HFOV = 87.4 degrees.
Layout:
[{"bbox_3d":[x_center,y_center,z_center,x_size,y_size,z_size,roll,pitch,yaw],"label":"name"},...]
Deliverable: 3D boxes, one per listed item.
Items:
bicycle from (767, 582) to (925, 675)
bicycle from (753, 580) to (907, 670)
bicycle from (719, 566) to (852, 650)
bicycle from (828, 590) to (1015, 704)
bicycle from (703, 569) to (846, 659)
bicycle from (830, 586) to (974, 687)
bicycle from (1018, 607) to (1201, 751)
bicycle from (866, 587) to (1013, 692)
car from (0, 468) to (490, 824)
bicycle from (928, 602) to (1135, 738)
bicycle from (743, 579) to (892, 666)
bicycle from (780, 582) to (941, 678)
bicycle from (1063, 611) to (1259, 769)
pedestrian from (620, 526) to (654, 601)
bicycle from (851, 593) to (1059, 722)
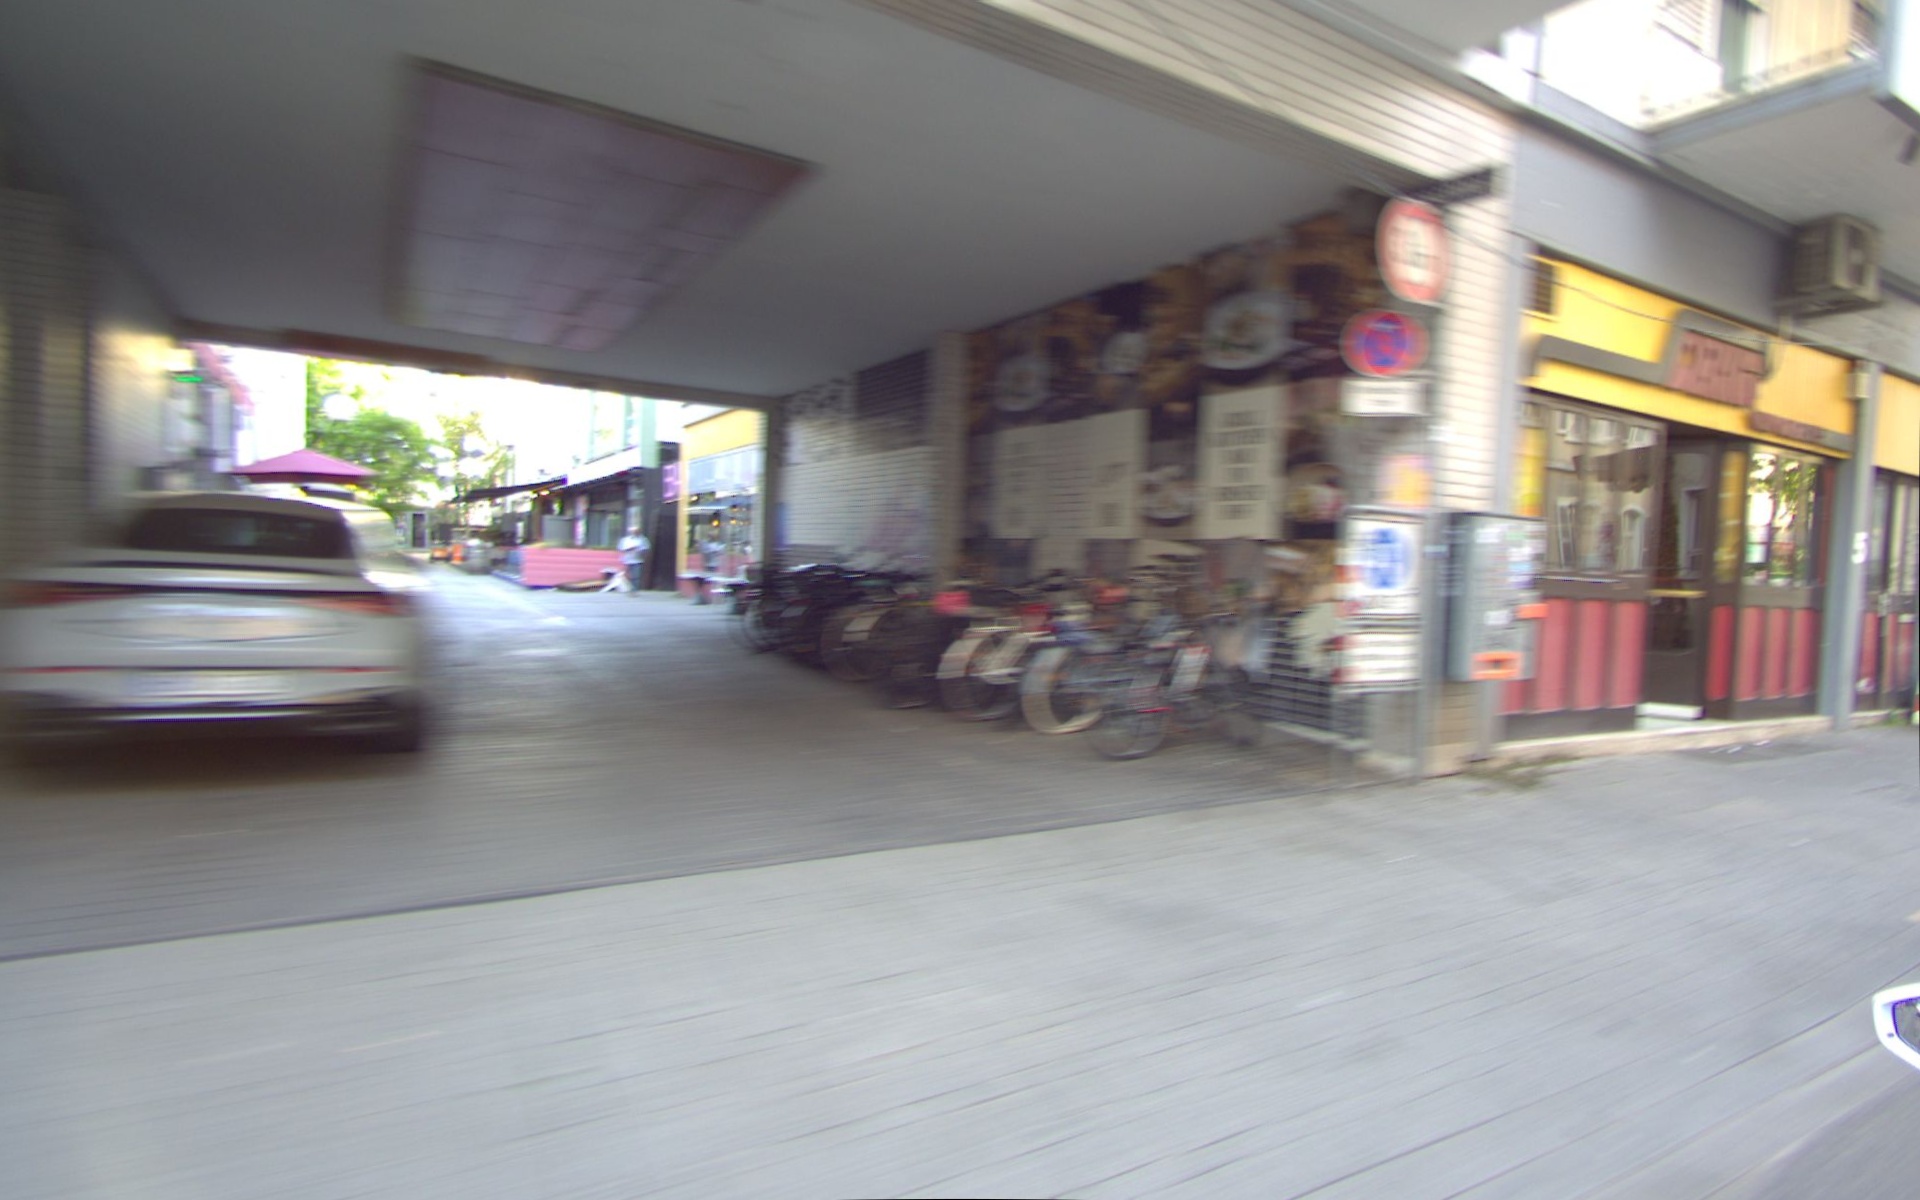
[{"bbox_3d":[-1.259,0.294,11.278,1.777,0.974,0.375,0,3,-34],"label":"bicycle"},{"bbox_3d":[-1.476,0.265,11.607,1.777,0.974,0.375,0,3,-34],"label":"bicycle"},{"bbox_3d":[-2.309,0.090,13.436,1.782,1.052,0.447,-1,4,-41],"label":"bicycle"},{"bbox_3d":[-0.331,0.401,9.314,1.777,0.974,0.375,0,3,-33],"label":"bicycle"},{"bbox_3d":[-2.296,0.147,12.596,1.782,1.052,0.447,-1,4,-41],"label":"bicycle"},{"bbox_3d":[-0.579,0.350,10.355,1.486,0.974,0.375,0,3,-34],"label":"bicycle"},{"bbox_3d":[1.150,0.559,7.587,1.486,0.974,0.375,0,3,-34],"label":"bicycle"},{"bbox_3d":[-0.183,0.371,10.020,1.486,0.974,0.375,0,3,-34],"label":"bicycle"},{"bbox_3d":[-4.310,0.090,6.316,1.998,1.441,4.292,1,2,-31],"label":"car"},{"bbox_3d":[0.603,0.517,8.006,1.777,0.974,0.375,0,3,-34],"label":"bicycle"},{"bbox_3d":[-1.679,0.251,11.995,1.777,0.974,0.375,0,3,-34],"label":"bicycle"},{"bbox_3d":[-1.062,0.305,10.964,1.777,0.974,0.375,0,3,-34],"label":"bicycle"},{"bbox_3d":[1.415,0.580,6.959,1.486,0.974,0.375,0,3,-34],"label":"bicycle"},{"bbox_3d":[-8.022,-0.907,24.937,0.635,1.832,0.744,1,3,-27],"label":"pedestrian"},{"bbox_3d":[-0.016,0.442,8.356,1.776,0.974,0.375,0,3,-31],"label":"bicycle"}]
